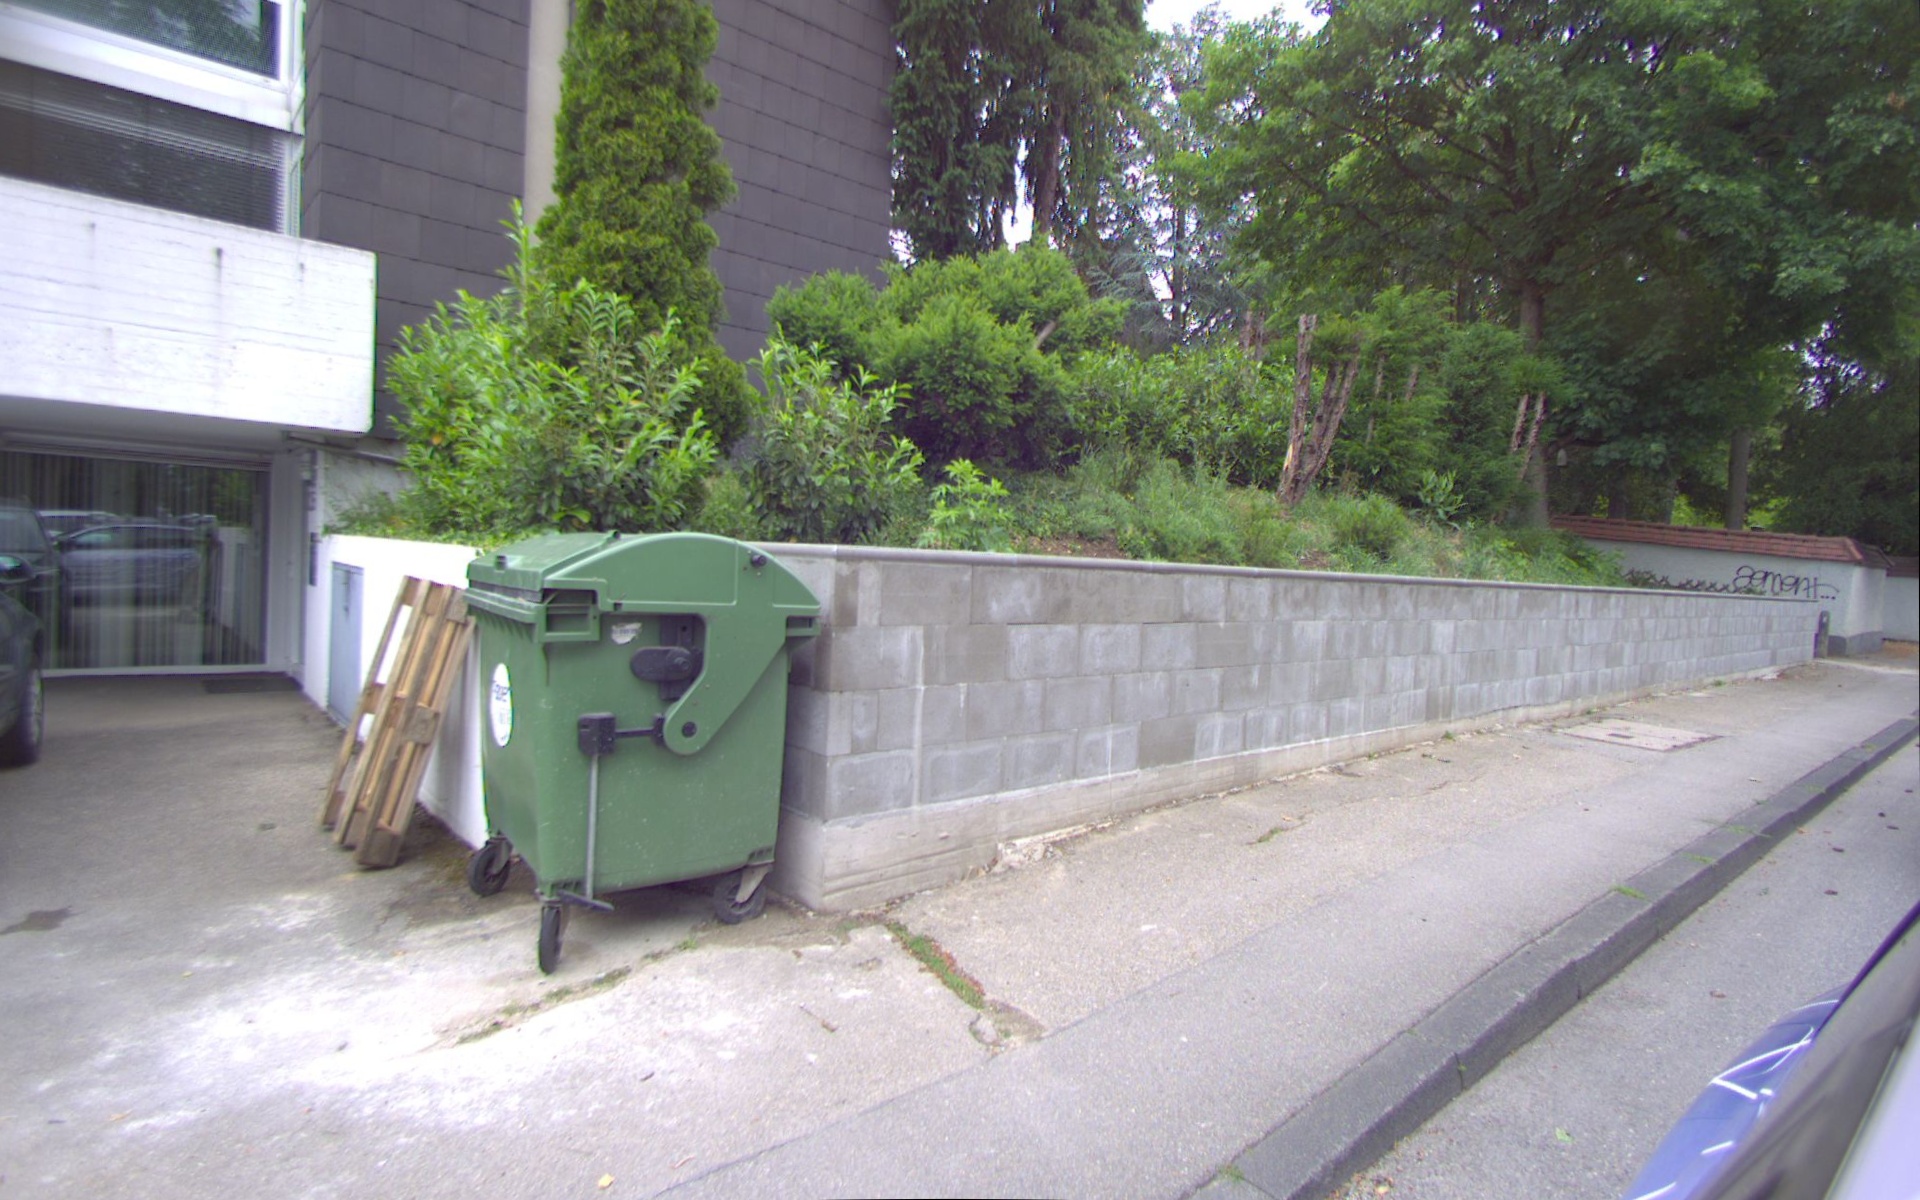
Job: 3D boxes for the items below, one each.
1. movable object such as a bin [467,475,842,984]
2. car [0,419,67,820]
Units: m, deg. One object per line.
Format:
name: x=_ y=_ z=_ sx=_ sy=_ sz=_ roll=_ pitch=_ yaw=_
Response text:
movable object such as a bin: x=-1.164 y=0.370 z=3.791 sx=1.014 sy=1.549 sz=1.037 roll=0 pitch=2 yaw=-39
car: x=-5.171 y=0.074 z=4.224 sx=1.798 sy=1.771 sz=3.987 roll=0 pitch=3 yaw=-36
